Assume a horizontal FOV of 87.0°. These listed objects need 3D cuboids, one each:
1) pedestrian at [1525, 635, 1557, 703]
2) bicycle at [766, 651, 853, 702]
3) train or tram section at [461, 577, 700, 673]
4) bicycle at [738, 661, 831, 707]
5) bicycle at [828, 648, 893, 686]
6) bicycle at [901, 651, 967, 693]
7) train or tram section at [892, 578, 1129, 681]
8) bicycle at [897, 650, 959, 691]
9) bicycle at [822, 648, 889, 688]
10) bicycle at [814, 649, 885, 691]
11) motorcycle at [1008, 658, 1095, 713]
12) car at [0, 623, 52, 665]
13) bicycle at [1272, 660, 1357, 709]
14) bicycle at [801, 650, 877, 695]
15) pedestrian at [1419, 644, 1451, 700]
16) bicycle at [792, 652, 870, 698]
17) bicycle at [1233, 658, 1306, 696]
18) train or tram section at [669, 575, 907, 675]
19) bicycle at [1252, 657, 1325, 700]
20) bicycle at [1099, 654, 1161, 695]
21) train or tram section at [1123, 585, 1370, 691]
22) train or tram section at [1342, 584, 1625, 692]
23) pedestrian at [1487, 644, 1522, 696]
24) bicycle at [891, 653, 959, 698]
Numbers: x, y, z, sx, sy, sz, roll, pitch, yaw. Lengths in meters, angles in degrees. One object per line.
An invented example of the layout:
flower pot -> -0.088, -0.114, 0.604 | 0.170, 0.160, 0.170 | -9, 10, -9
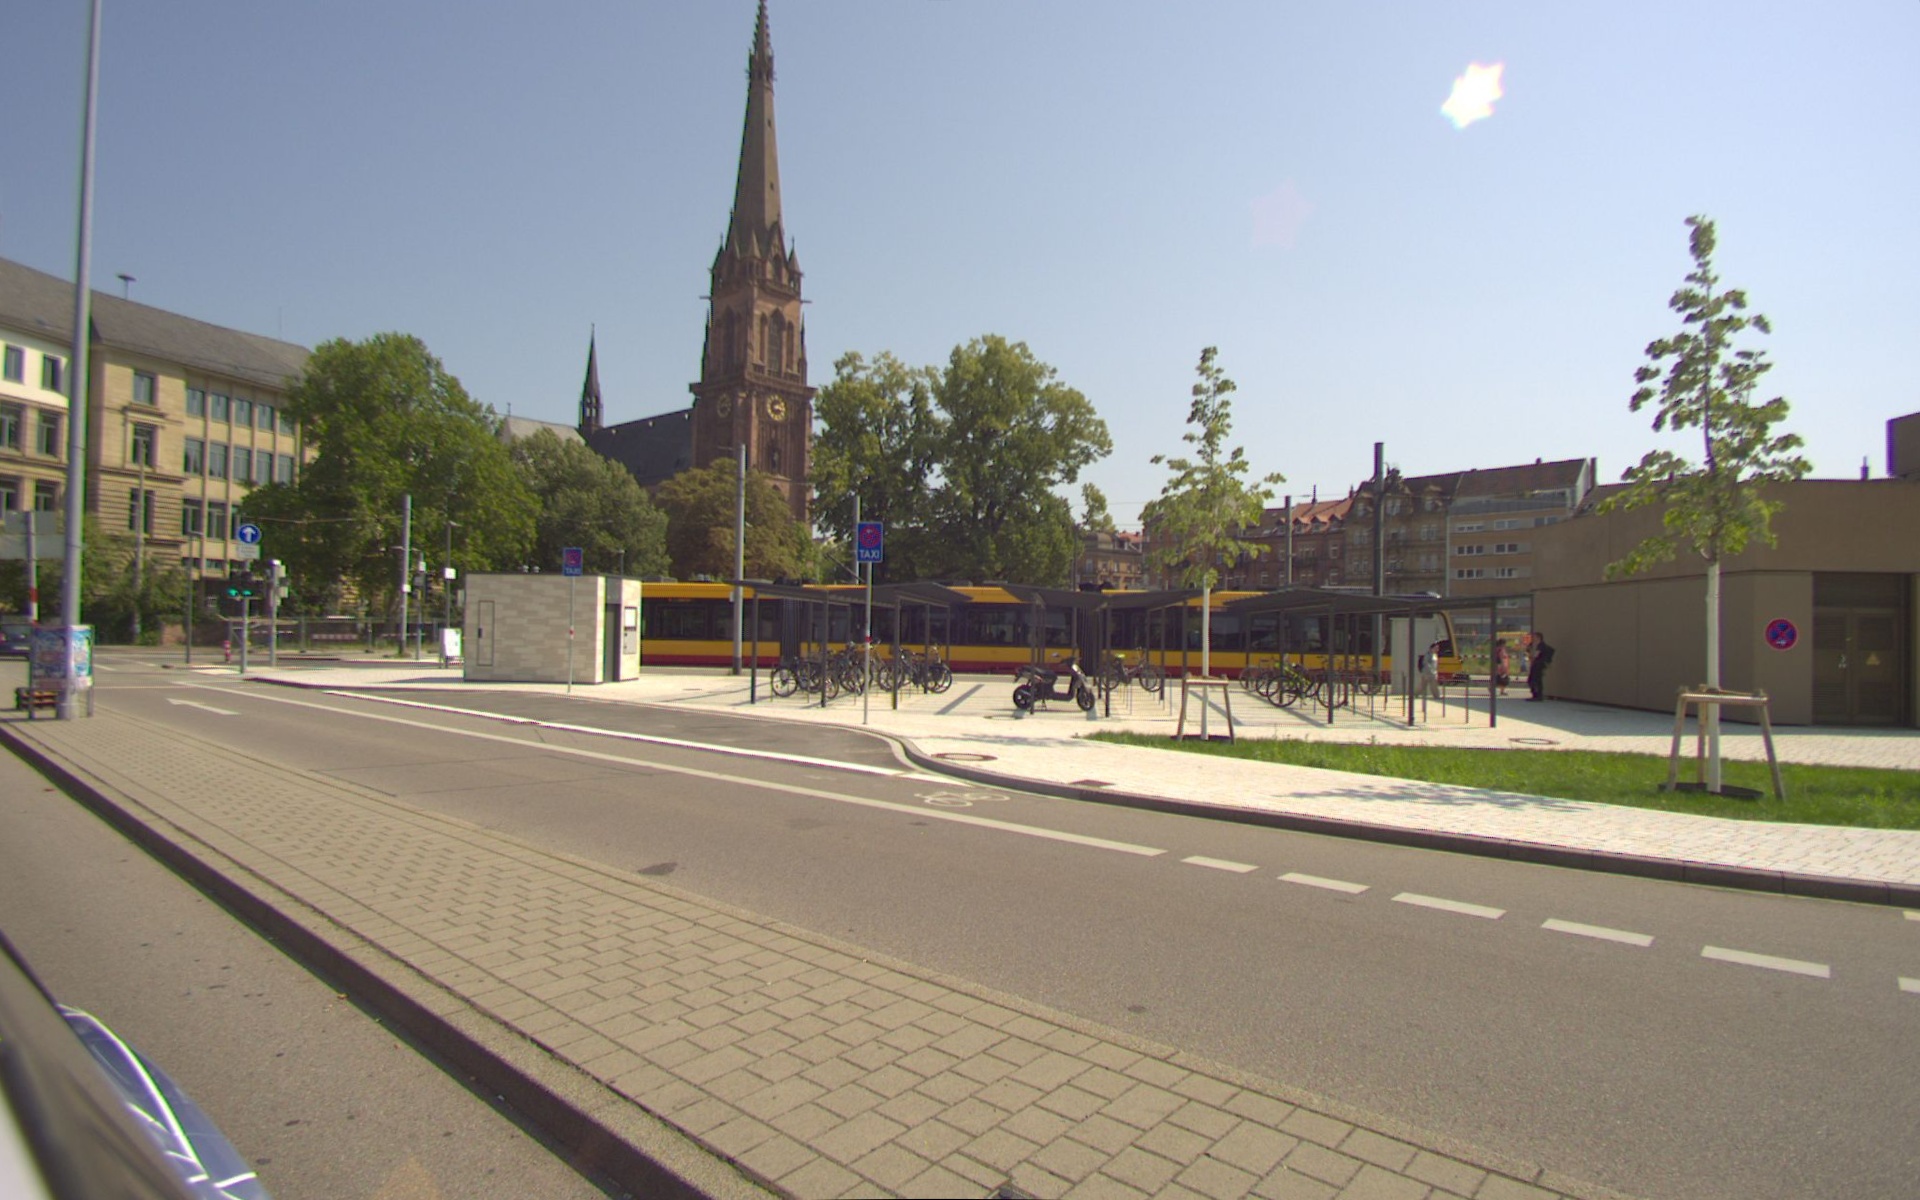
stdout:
pedestrian -> 14.794, 1.745, 25.782 | 0.562, 1.691, 0.443 | 1, -2, 6
bicycle -> -3.375, 1.708, 22.702 | 1.844, 1.090, 0.525 | 0, -3, 9
train or tram section -> -14.712, 1.027, 39.633 | 8.227, 3.588, 3.131 | 0, -3, 7
bicycle -> -3.695, 1.759, 21.342 | 1.877, 0.890, 0.490 | 1, -2, 10
bicycle -> -2.838, 1.906, 28.834 | 1.750, 1.048, 0.525 | 0, -3, 9
bicycle -> -0.661, 1.840, 25.943 | 1.622, 1.048, 0.412 | 0, -3, 9
train or tram section -> 1.912, 1.121, 37.641 | 8.422, 3.625, 3.155 | 0, -3, 7
bicycle -> -0.855, 1.893, 27.323 | 1.622, 1.048, 0.412 | 0, -3, 9
bicycle -> -2.851, 1.863, 27.691 | 1.750, 1.048, 0.525 | 0, -3, 9
bicycle -> -2.883, 1.829, 26.411 | 1.750, 1.048, 0.525 | 0, -3, 9
motorcycle -> 1.899, 1.751, 20.902 | 1.759, 1.077, 0.490 | 0, -3, 10
car -> -35.640, 1.636, 38.193 | 3.585, 1.509, 1.563 | -1, -4, 42
bicycle -> 7.905, 1.881, 22.589 | 1.710, 1.048, 0.513 | 1, -2, 0
bicycle -> -2.956, 1.769, 24.689 | 1.750, 1.048, 0.525 | 0, -3, 9
pedestrian -> 12.196, 1.838, 25.978 | 0.667, 1.421, 0.438 | -1, -3, 40
bicycle -> -3.061, 1.772, 23.993 | 1.750, 1.048, 0.525 | 0, -3, 9
bicycle -> 8.454, 2.088, 27.645 | 1.833, 0.993, 0.512 | 1, -2, 5
train or tram section -> -6.440, 0.995, 38.651 | 8.422, 3.625, 3.155 | 0, -3, 7
bicycle -> 8.399, 2.012, 25.913 | 1.708, 1.048, 0.514 | 1, -2, -6
bicycle -> 4.499, 1.959, 26.817 | 1.622, 1.048, 0.412 | 0, -3, 9
train or tram section -> 10.112, 1.397, 36.648 | 8.146, 3.625, 3.155 | 0, -3, 7
train or tram section -> 18.184, 1.374, 35.706 | 8.143, 3.597, 3.139 | 0, -3, 6
pedestrian -> 15.101, 1.934, 28.094 | 0.737, 1.421, 0.442 | 0, -2, 10
bicycle -> -0.854, 1.847, 24.877 | 1.622, 1.048, 0.412 | 0, -3, 9
